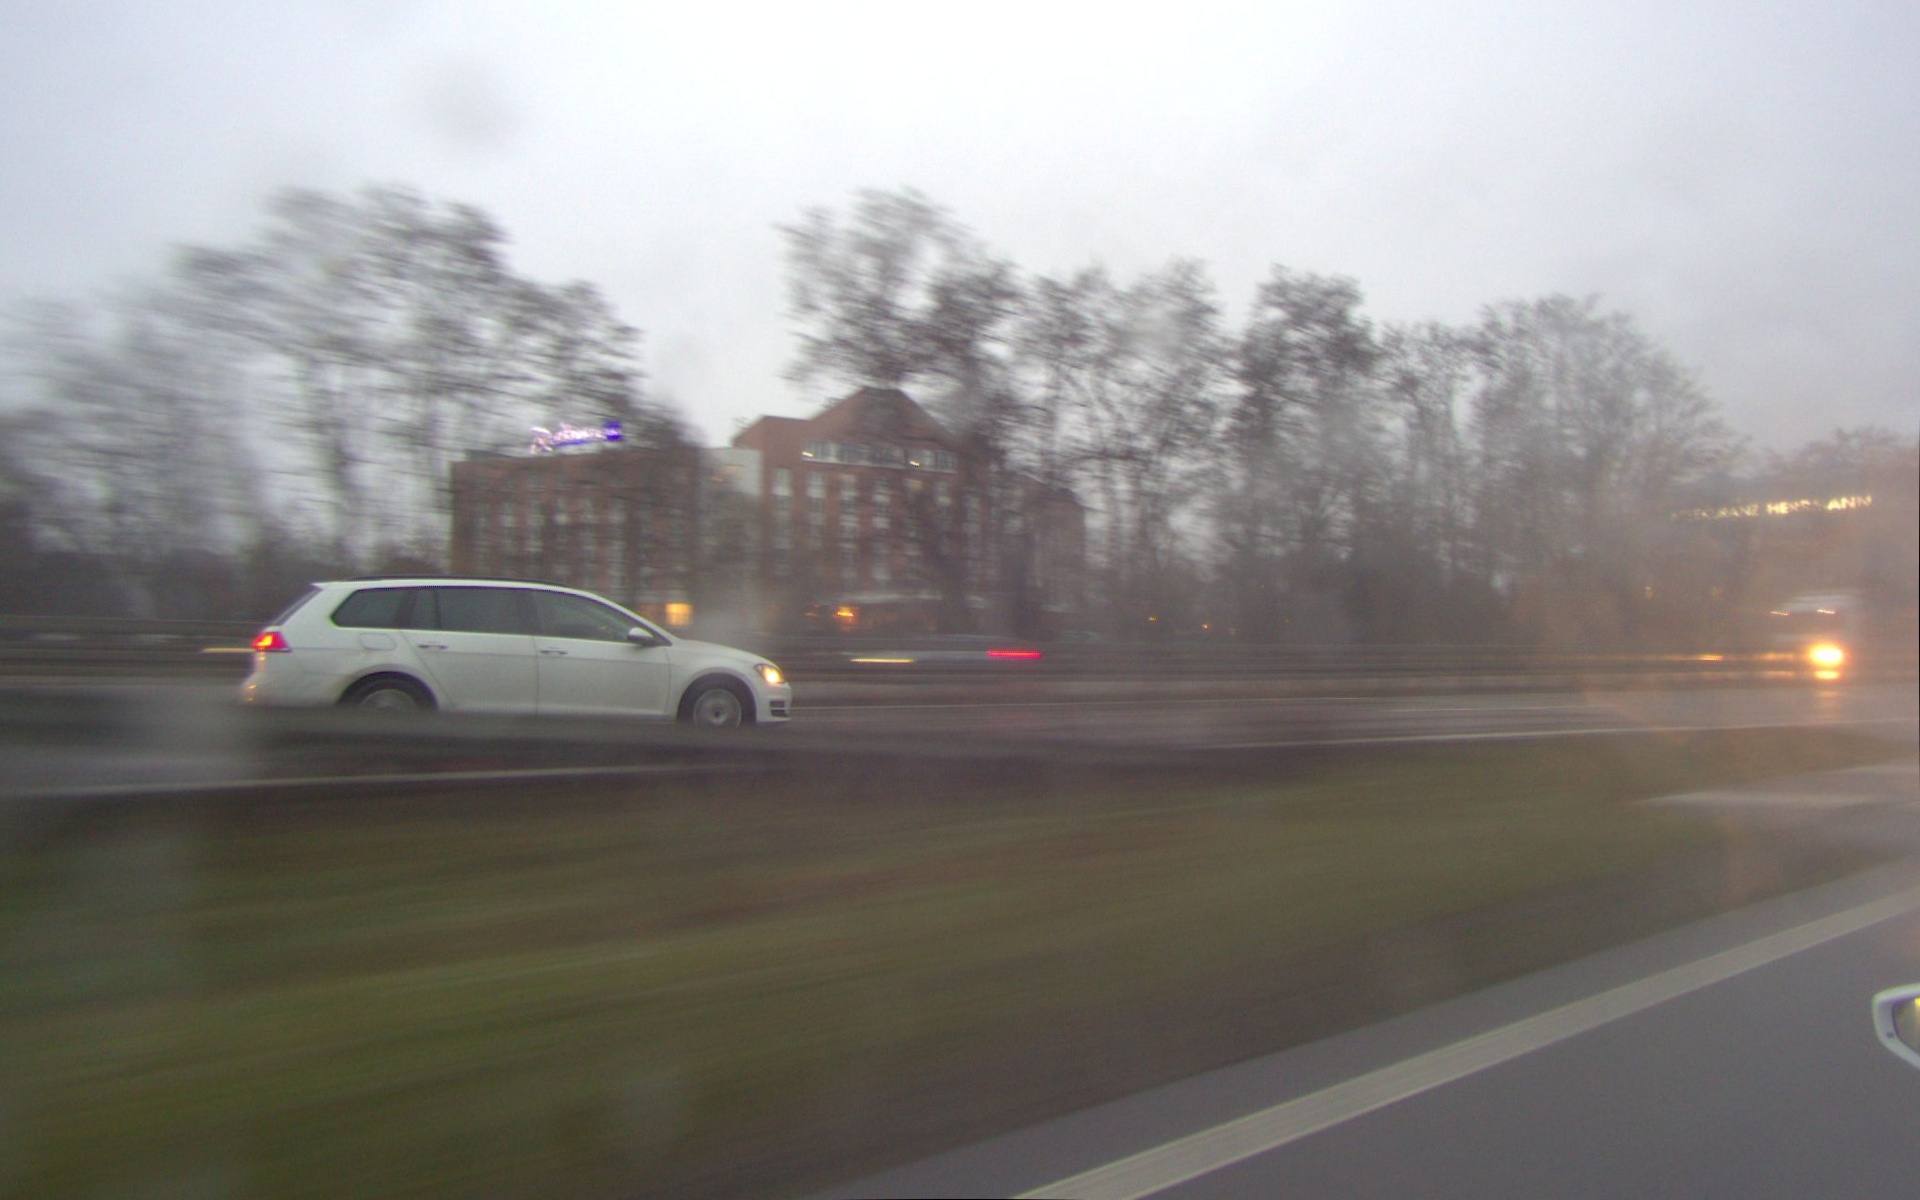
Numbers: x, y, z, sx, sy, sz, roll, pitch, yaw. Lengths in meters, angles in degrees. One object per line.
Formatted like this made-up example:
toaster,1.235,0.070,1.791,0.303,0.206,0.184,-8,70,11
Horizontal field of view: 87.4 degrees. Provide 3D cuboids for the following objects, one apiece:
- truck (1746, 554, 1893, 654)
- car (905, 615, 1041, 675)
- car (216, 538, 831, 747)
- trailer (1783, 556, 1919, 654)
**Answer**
truck,44.440,0.230,51.951,5.947,4.912,3.480,1,0,-24
car,0.379,1.253,28.628,3.600,1.585,1.454,1,0,-25
car,-3.748,0.389,9.312,4.724,1.540,1.942,1,-2,-26
trailer,50.825,0.404,54.859,13.293,4.912,3.480,2,0,-24
